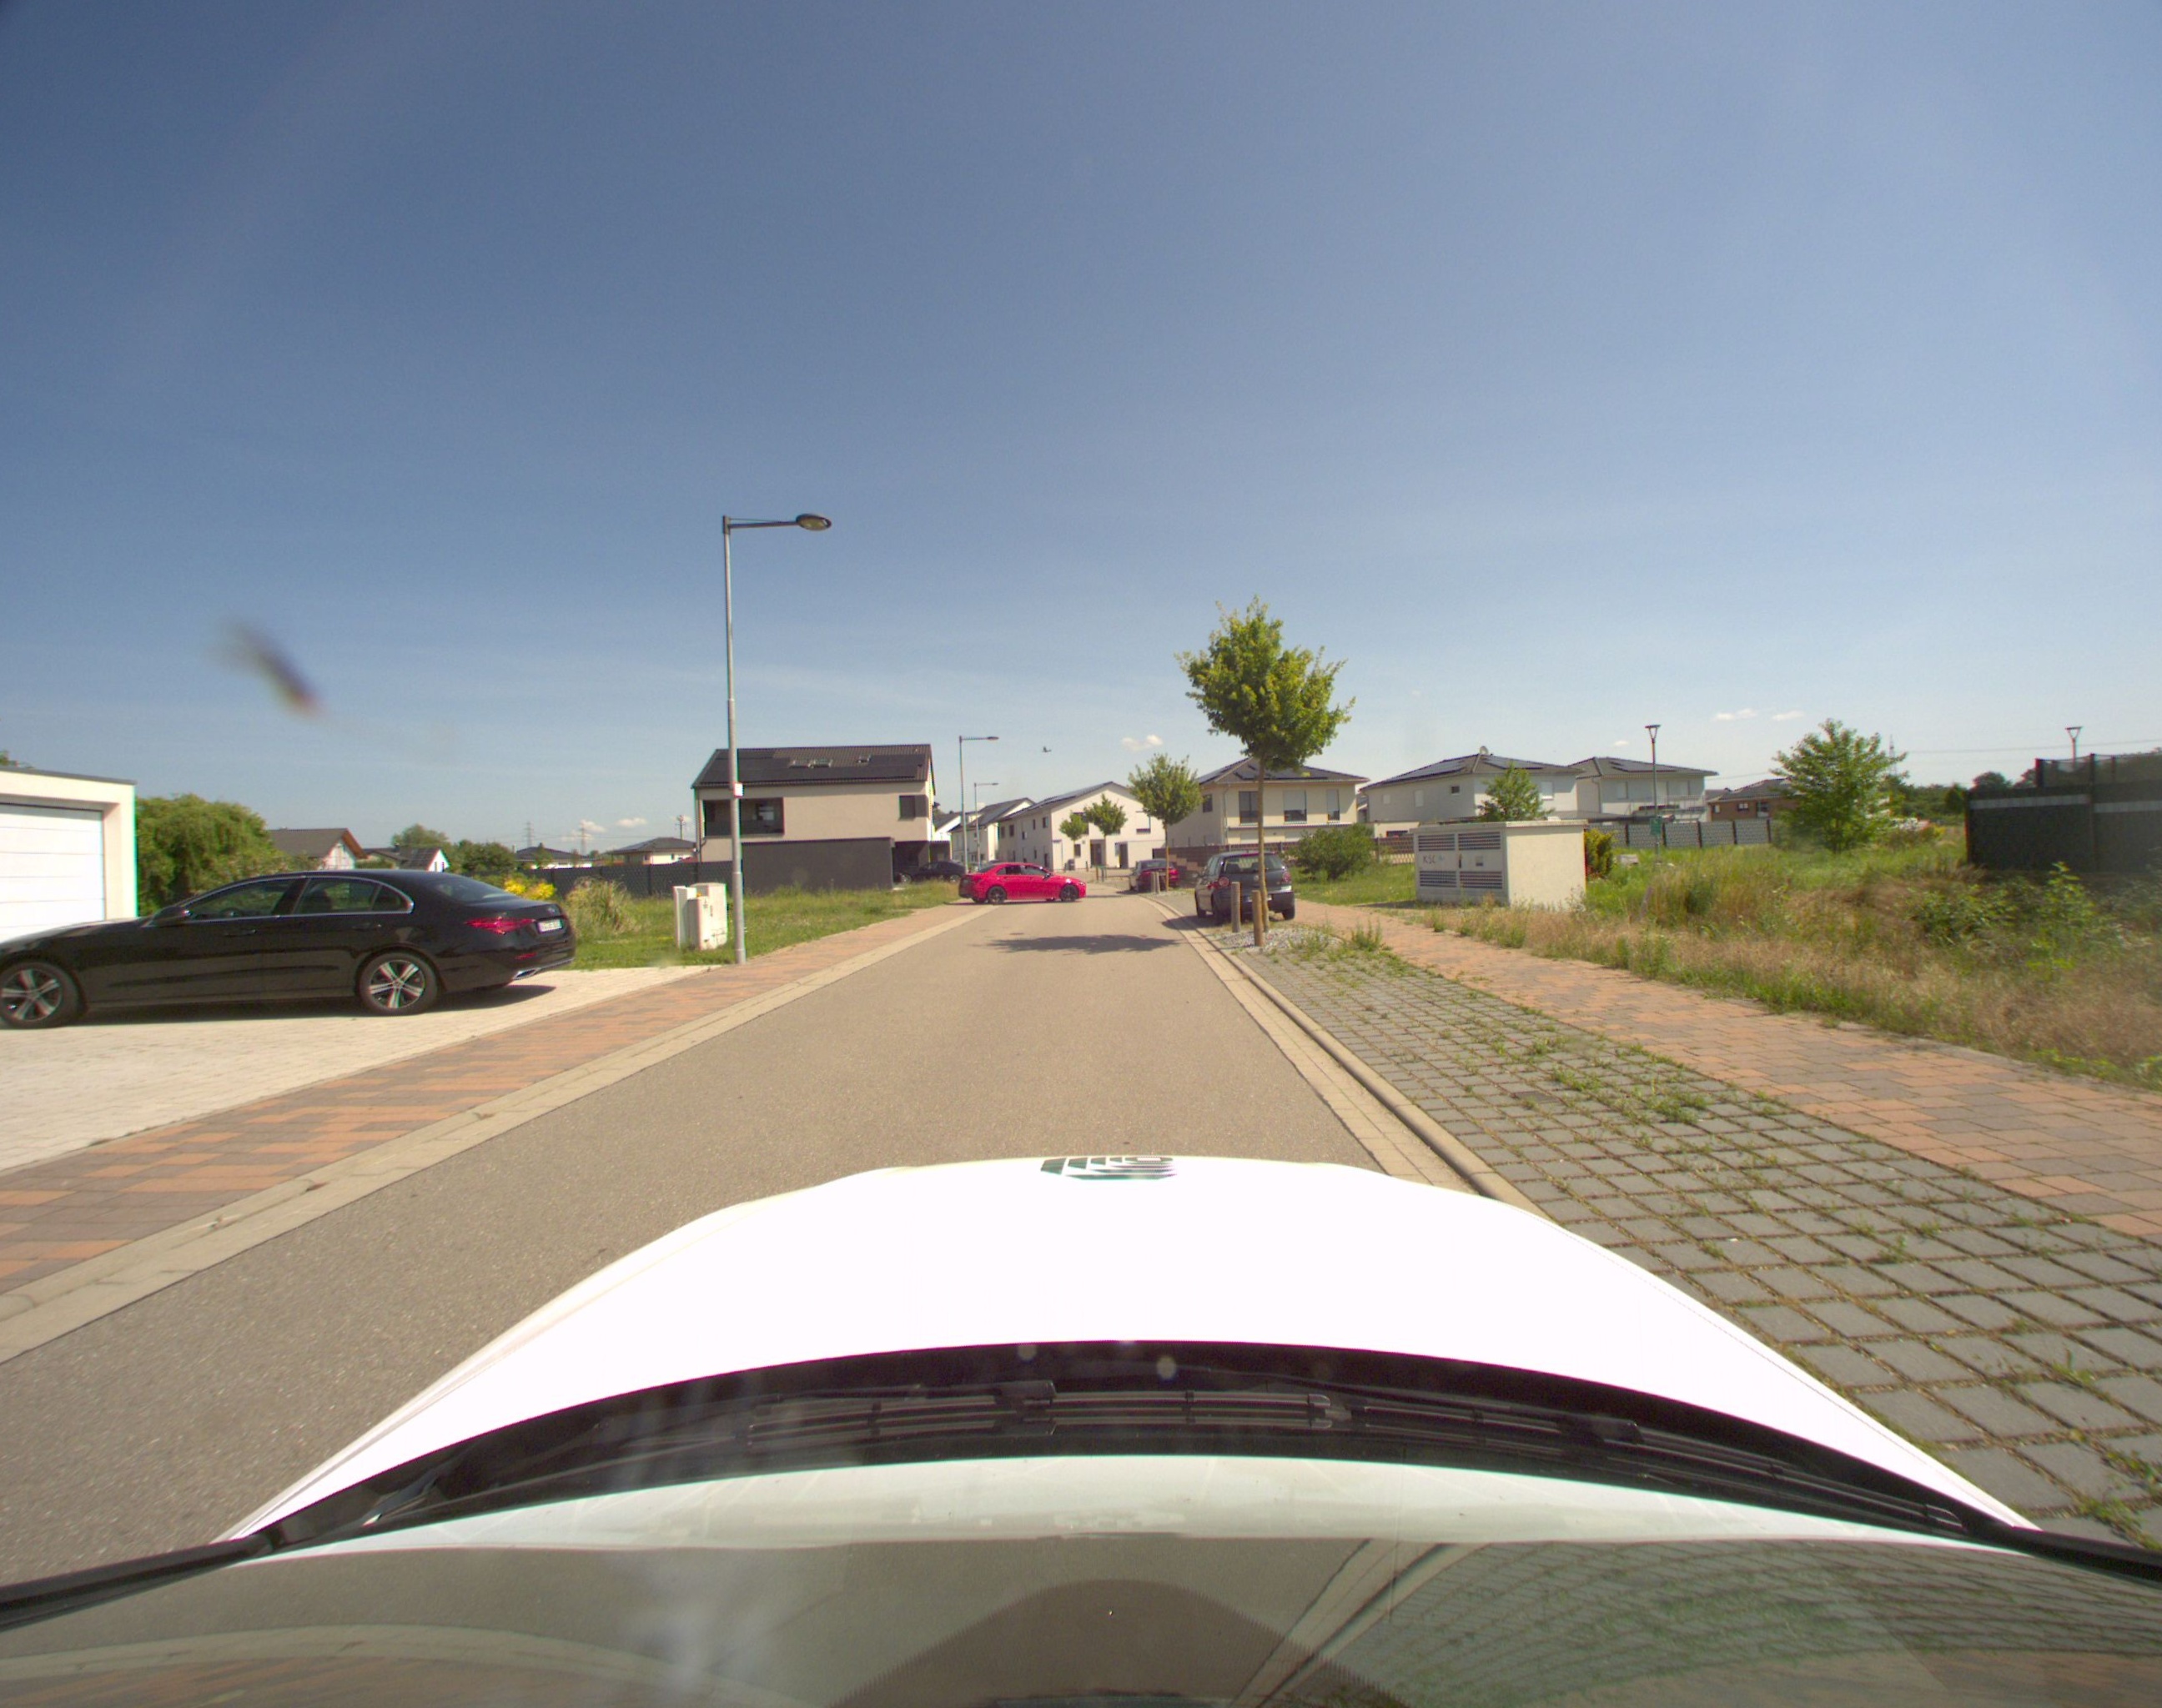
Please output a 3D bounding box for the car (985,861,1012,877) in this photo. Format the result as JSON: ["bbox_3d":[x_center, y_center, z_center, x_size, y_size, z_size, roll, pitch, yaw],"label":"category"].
[{"bbox_3d":[-8.043,1.462,79.068,1.732,1.423,3.975,-3,0,-18],"label":"car"}]

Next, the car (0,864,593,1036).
[{"bbox_3d":[-7.918,0.877,8.569,4.395,1.452,1.742,-1,0,-12],"label":"car"}]

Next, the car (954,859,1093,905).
[{"bbox_3d":[-1.993,0.943,28.560,4.529,1.438,1.753,-1,0,-27],"label":"car"}]

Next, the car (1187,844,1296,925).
[{"bbox_3d":[3.383,0.599,17.739,1.593,1.475,3.675,-4,0,1],"label":"car"}]

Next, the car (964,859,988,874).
[{"bbox_3d":[-11.428,1.367,88.316,1.683,1.464,3.917,-3,0,-21],"label":"car"}]

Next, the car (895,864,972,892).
[{"bbox_3d":[-8.770,1.409,48.751,4.371,1.631,1.766,0,-1,-7],"label":"car"}]

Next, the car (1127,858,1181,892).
[{"bbox_3d":[3.207,0.899,36.712,1.751,1.363,4.569,-1,0,-3],"label":"car"}]
